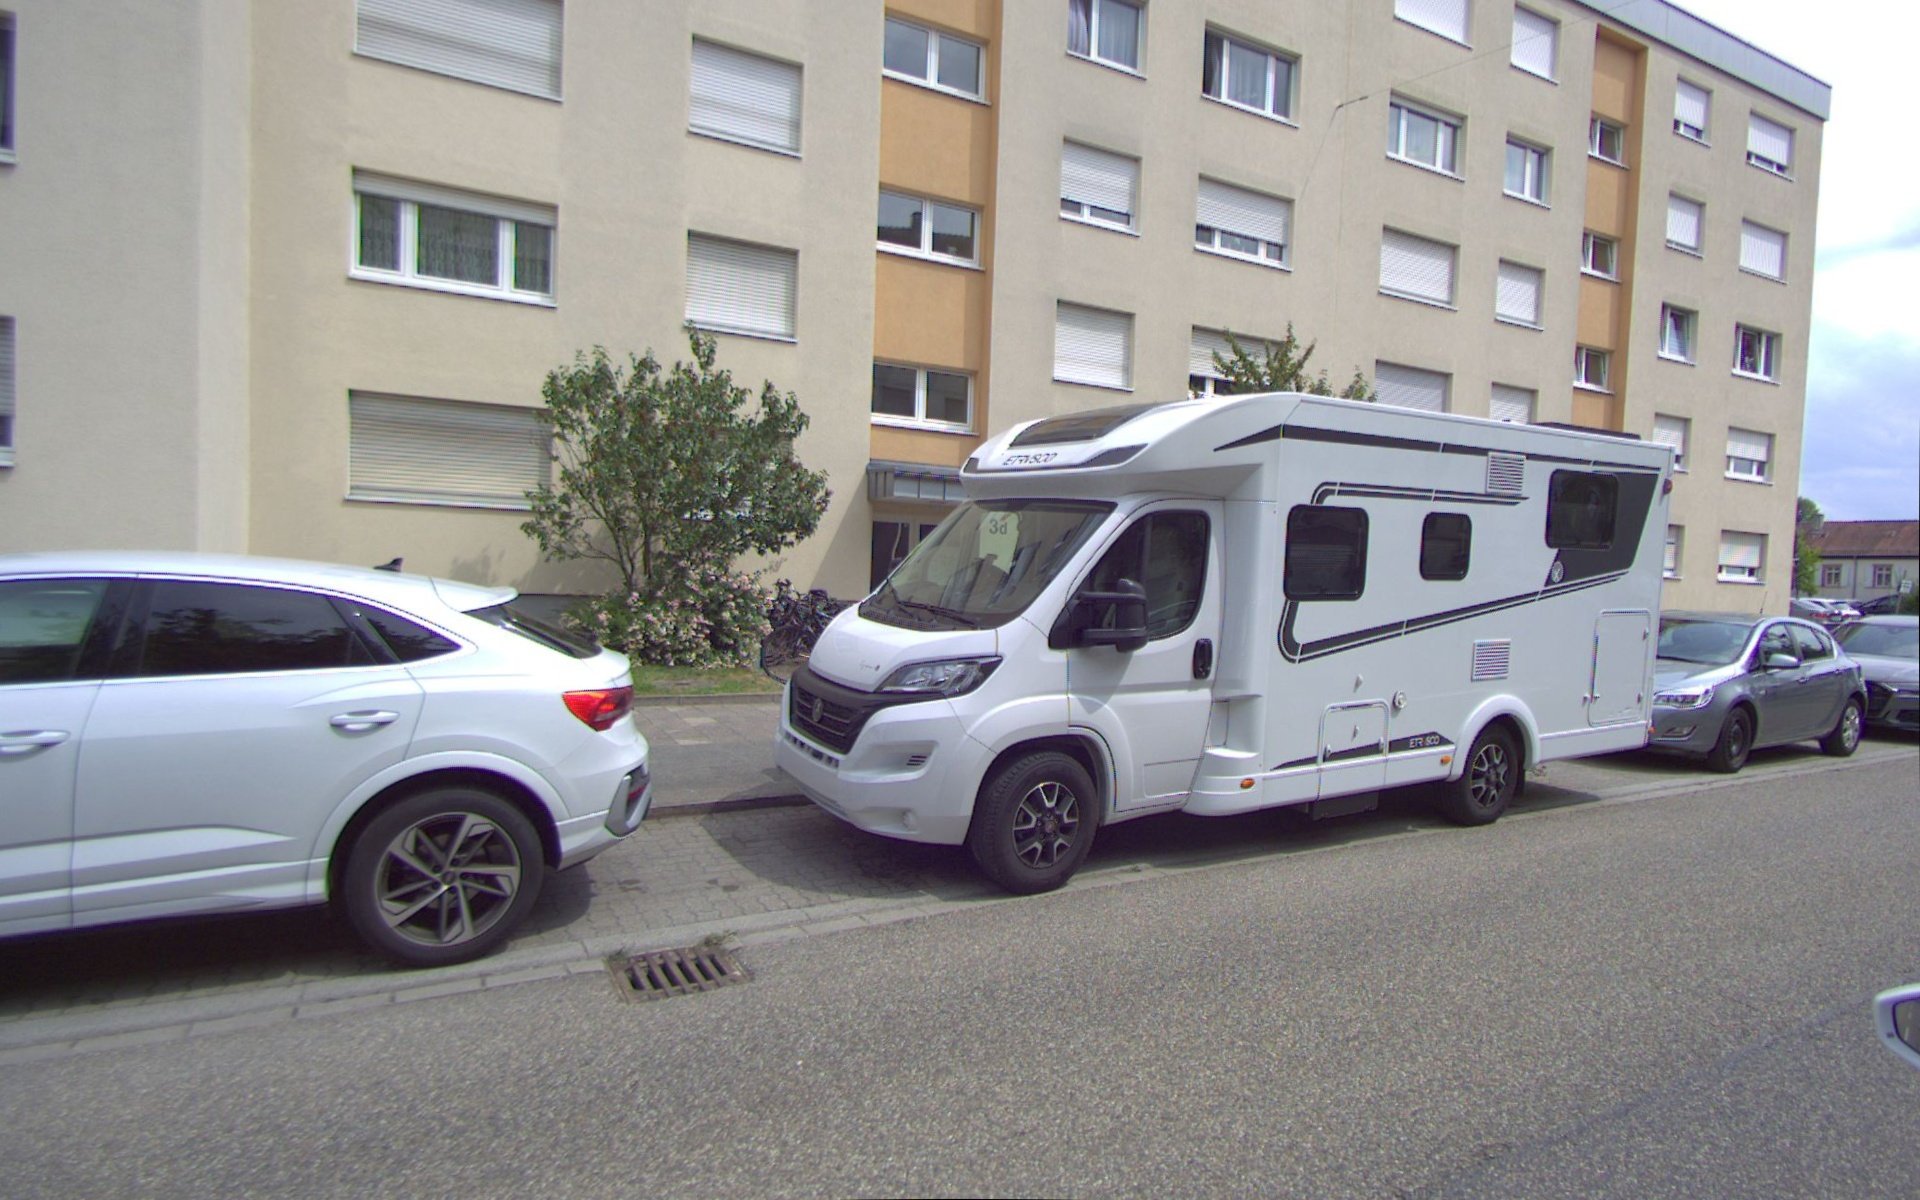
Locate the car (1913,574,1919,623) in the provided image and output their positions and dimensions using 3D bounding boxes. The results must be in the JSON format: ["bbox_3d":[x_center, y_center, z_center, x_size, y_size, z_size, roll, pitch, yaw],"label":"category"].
[{"bbox_3d":[47.864,0.004,46.922,1.975,2.380,4.390,0,2,-28],"label":"car"}]

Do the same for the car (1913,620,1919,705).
[{"bbox_3d":[18.158,1.050,16.956,4.730,1.516,1.732,1,3,-31],"label":"car"}]

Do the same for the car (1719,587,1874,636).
[{"bbox_3d":[32.383,0.391,38.998,1.975,1.707,4.154,0,2,-28],"label":"car"}]

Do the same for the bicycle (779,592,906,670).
[{"bbox_3d":[-1.569,0.405,13.496,1.656,0.992,0.395,0,2,-27],"label":"bicycle"}]

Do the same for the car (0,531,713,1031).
[{"bbox_3d":[-3.469,0.549,3.954,4.541,1.601,1.680,1,3,-31],"label":"car"}]

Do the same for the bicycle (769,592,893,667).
[{"bbox_3d":[-1.778,0.396,13.897,1.663,0.992,0.395,0,2,-27],"label":"bicycle"}]

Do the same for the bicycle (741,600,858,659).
[{"bbox_3d":[-2.373,0.425,14.928,1.663,0.836,0.395,0,2,-27],"label":"bicycle"}]

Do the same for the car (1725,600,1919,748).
[{"bbox_3d":[12.709,0.893,13.656,5.160,1.601,1.875,1,3,-32],"label":"car"}]

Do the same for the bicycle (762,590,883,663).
[{"bbox_3d":[-1.954,0.367,14.329,1.663,0.992,0.395,0,2,-27],"label":"bicycle"}]

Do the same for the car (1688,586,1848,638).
[{"bbox_3d":[29.874,0.389,37.274,1.975,1.707,4.154,0,2,-28],"label":"car"}]

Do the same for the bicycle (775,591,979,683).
[{"bbox_3d":[-0.937,0.410,11.782,2.416,0.993,0.450,0,2,-30],"label":"bicycle"}]

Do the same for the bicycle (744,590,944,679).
[{"bbox_3d":[-1.361,0.392,12.125,2.416,0.993,0.450,0,2,-30],"label":"bicycle"}]

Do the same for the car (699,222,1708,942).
[{"bbox_3d":[2.127,-0.054,7.239,7.311,3.065,2.497,1,3,-31],"label":"car"}]

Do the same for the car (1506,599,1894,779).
[{"bbox_3d":[8.054,0.832,10.818,4.541,1.516,1.680,1,3,-31],"label":"car"}]

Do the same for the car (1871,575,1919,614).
[{"bbox_3d":[44.181,-0.216,45.292,1.975,1.707,4.154,0,2,-28],"label":"car"}]
